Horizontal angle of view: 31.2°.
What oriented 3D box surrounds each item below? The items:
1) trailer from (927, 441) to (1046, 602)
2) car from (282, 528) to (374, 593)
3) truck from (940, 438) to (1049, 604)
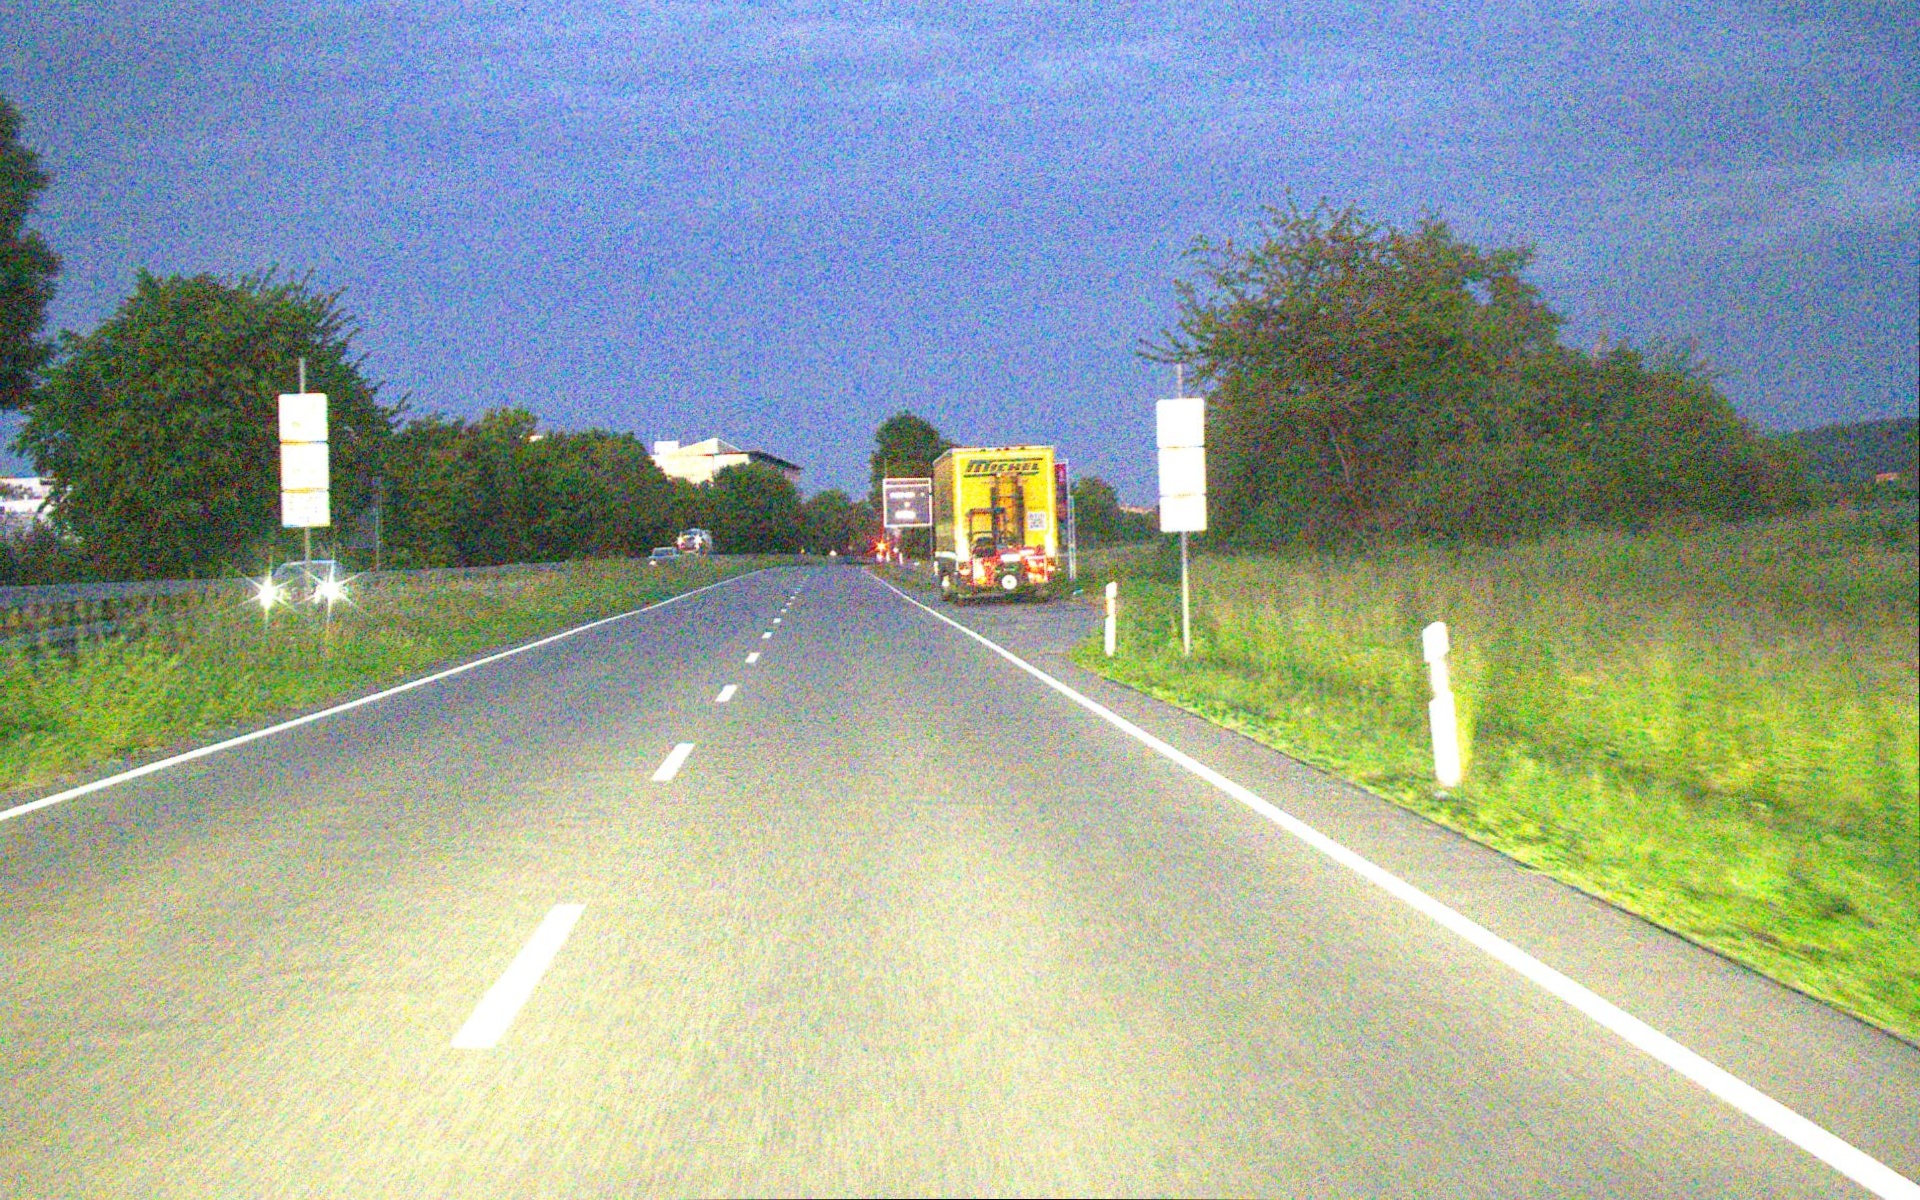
[{"bbox_3d":[0.620,-2.124,94.886,2.622,4.090,12.939,-1,1,-2],"label":"trailer"},{"bbox_3d":[-15.113,-0.952,82.349,1.654,1.500,4.001,1,1,-3],"label":"car"},{"bbox_3d":[0.837,-2.015,87.572,2.579,4.057,6.130,0,1,-1],"label":"truck"}]
